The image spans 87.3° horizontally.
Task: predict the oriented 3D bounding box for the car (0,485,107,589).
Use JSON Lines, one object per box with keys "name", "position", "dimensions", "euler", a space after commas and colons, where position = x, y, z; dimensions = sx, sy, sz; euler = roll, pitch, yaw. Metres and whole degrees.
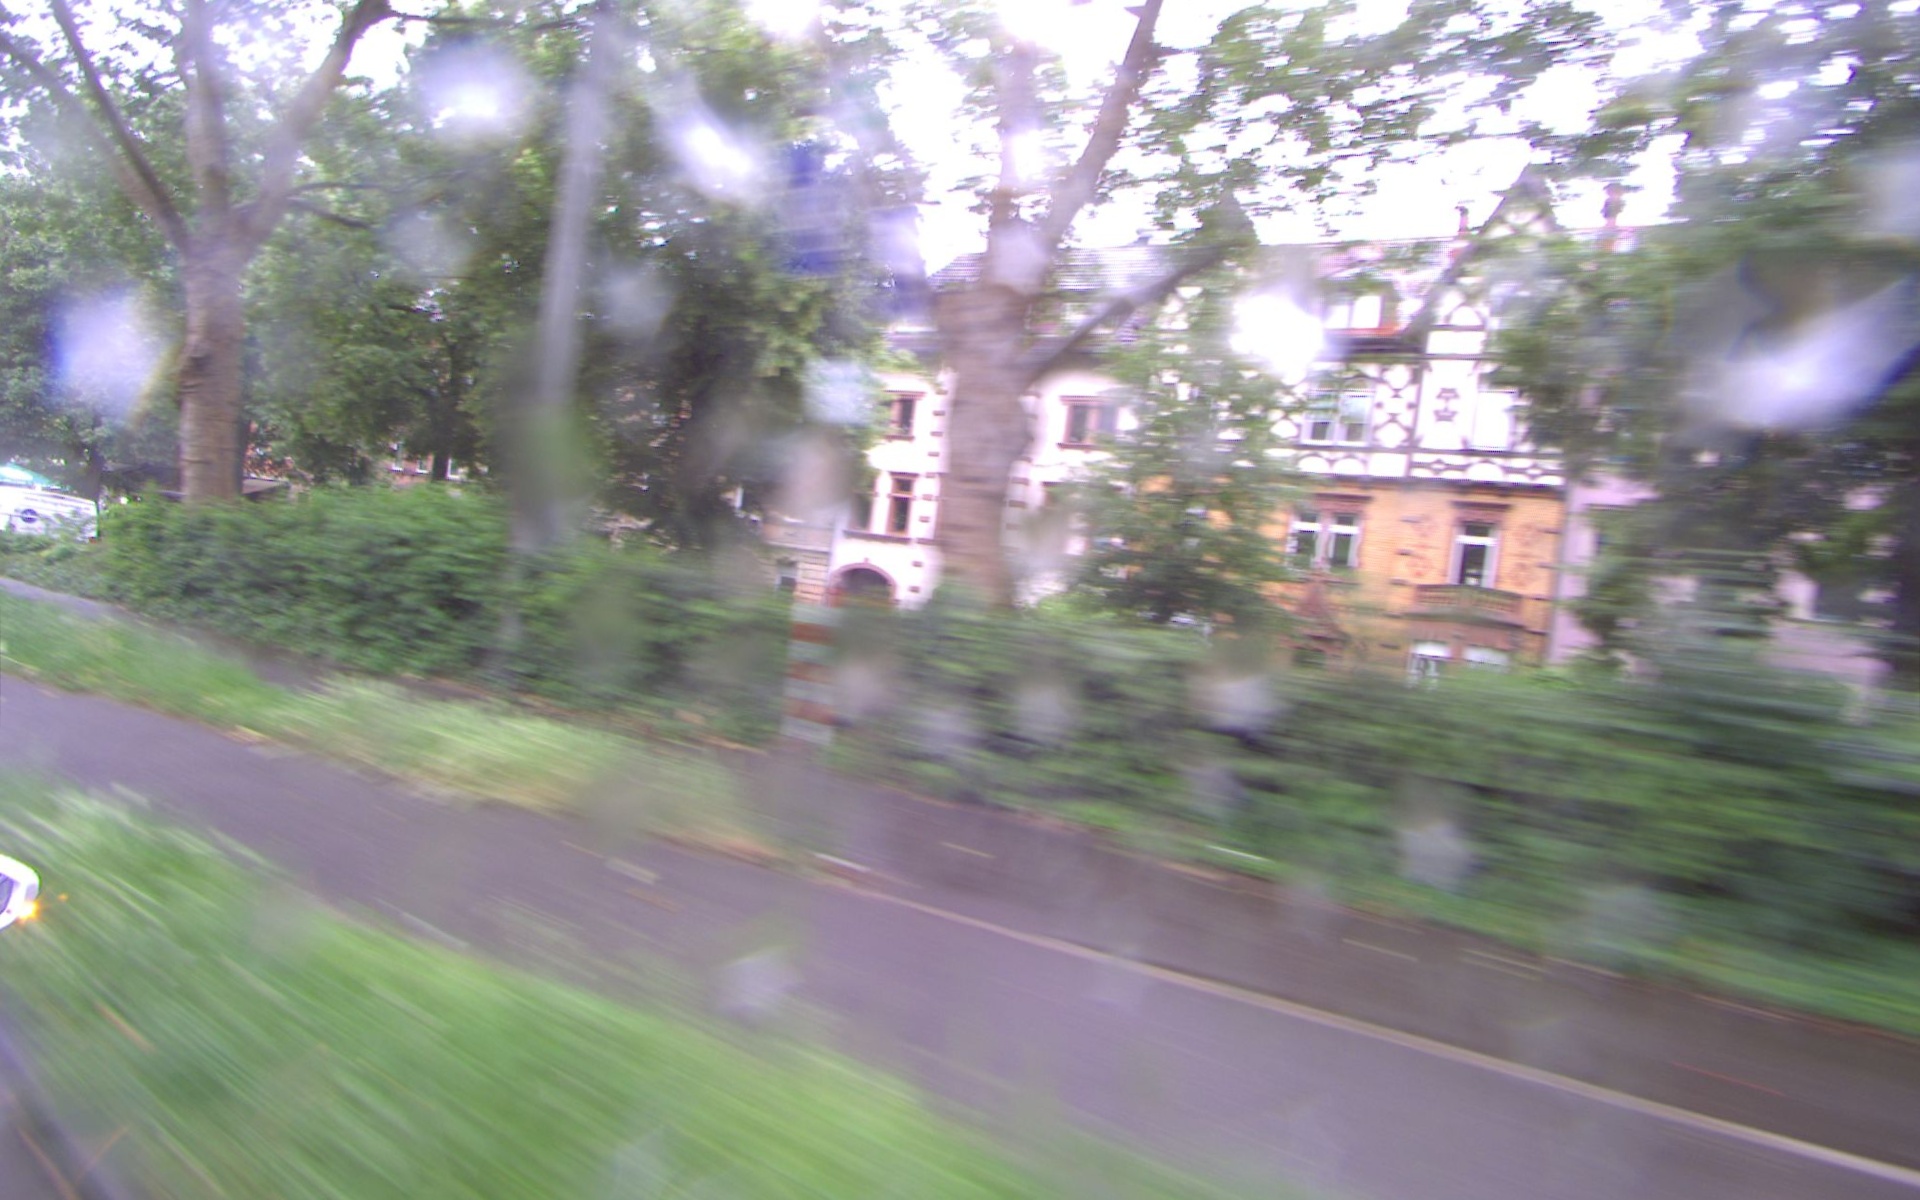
{"name": "car", "position": [-27.679, -1.981, 29.328], "dimensions": [5.677, 2.565, 2.183], "euler": [8, 1, 28]}
